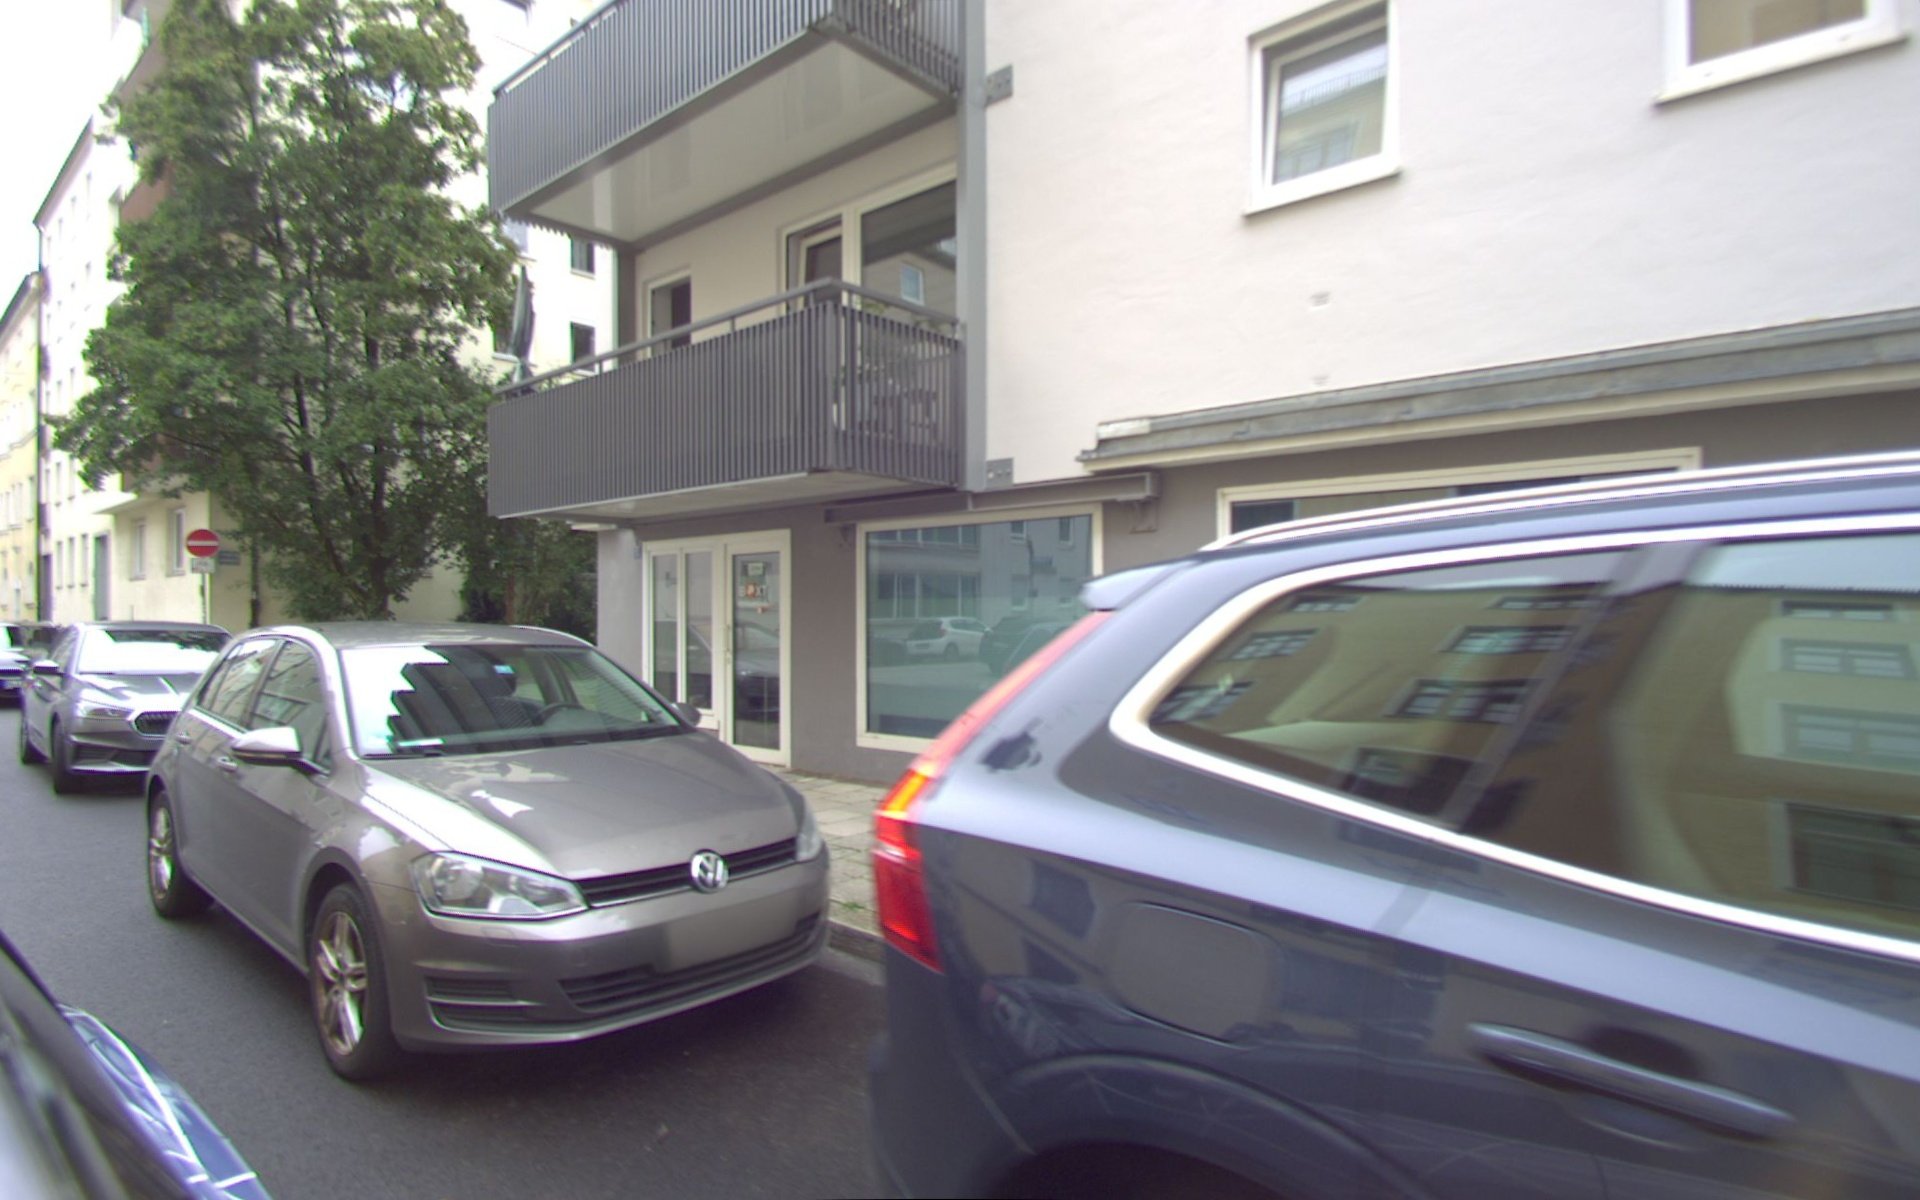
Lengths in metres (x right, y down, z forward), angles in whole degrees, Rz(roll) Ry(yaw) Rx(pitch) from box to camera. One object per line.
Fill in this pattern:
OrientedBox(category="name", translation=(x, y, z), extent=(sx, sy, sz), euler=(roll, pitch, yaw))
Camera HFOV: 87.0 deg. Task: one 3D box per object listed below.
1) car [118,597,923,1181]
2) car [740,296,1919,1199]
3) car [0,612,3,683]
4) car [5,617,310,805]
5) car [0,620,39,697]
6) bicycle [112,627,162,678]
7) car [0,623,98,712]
OrientedBox(category="car", translation=(-2.189, 0.774, 4.478), extent=(3.974, 1.453, 1.675), euler=(-1, -2, 40))
OrientedBox(category="car", translation=(1.841, 0.602, 0.894), extent=(4.414, 1.642, 1.757), euler=(-1, -2, 42))
OrientedBox(category="car", translation=(-25.101, 1.140, 24.942), extent=(4.365, 1.688, 1.747), euler=(-1, -2, 41))
OrientedBox(category="car", translation=(-7.876, 0.917, 9.803), extent=(3.941, 1.453, 1.675), euler=(-1, -2, 42))
OrientedBox(category="car", translation=(-20.718, 1.167, 21.174), extent=(4.423, 1.494, 1.746), euler=(-1, -2, 43))
OrientedBox(category="bicycle", translation=(-19.732, 1.242, 24.257), extent=(1.789, 1.170, 0.638), euler=(-1, -3, 42))
OrientedBox(category="car", translation=(-16.705, 1.112, 17.762), extent=(4.382, 1.419, 1.836), euler=(-1, -2, 42))
